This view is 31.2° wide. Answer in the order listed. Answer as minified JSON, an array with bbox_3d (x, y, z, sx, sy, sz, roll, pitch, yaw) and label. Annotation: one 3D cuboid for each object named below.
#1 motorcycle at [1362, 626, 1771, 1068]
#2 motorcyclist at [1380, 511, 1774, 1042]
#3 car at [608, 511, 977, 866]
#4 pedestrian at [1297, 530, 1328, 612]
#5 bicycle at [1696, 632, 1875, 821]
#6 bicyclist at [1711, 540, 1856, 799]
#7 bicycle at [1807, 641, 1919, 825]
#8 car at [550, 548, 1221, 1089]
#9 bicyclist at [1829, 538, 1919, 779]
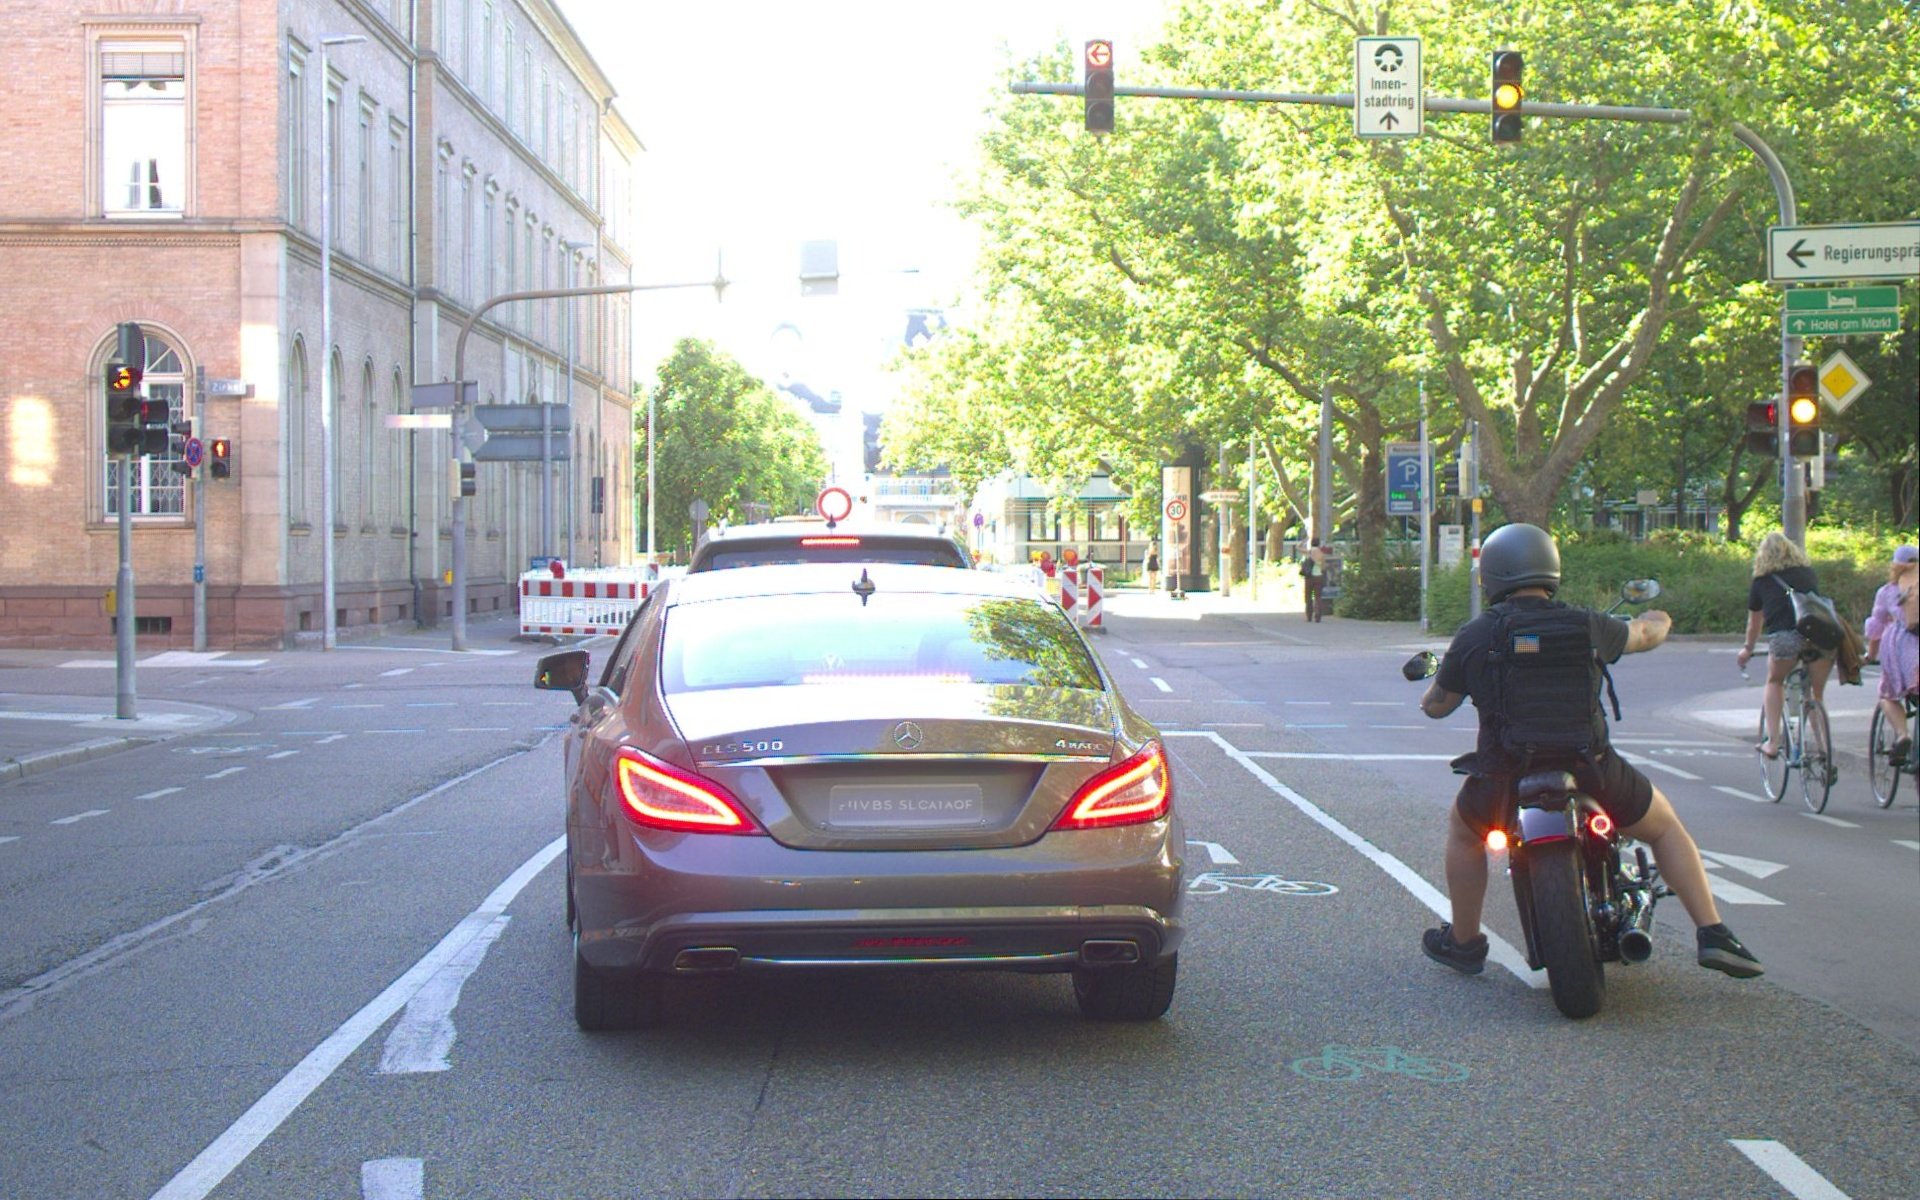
[{"bbox_3d":[2.069,0.725,11.351,1.008,1.200,2.663,0,1,17],"label":"motorcycle"},{"bbox_3d":[2.021,0.521,11.136,1.114,1.607,1.201,0,1,17],"label":"motorcyclist"},{"bbox_3d":[-0.825,0.376,17.614,1.681,1.619,3.841,0,1,-2],"label":"car"},{"bbox_3d":[7.187,-0.590,70.087,0.559,1.672,0.565,0,1,-1],"label":"pedestrian"},{"bbox_3d":[4.948,0.738,20.700,0.610,1.023,1.731,2,1,-1],"label":"bicycle"},{"bbox_3d":[4.952,0.400,20.716,0.610,1.511,0.890,2,1,-1],"label":"bicyclist"},{"bbox_3d":[5.617,0.776,20.524,0.600,0.981,1.881,2,1,-1],"label":"bicycle"},{"bbox_3d":[-0.452,0.563,11.646,1.821,1.471,4.354,0,1,-7],"label":"car"},{"bbox_3d":[5.627,0.337,20.498,0.600,1.397,0.931,2,1,-1],"label":"bicyclist"}]
